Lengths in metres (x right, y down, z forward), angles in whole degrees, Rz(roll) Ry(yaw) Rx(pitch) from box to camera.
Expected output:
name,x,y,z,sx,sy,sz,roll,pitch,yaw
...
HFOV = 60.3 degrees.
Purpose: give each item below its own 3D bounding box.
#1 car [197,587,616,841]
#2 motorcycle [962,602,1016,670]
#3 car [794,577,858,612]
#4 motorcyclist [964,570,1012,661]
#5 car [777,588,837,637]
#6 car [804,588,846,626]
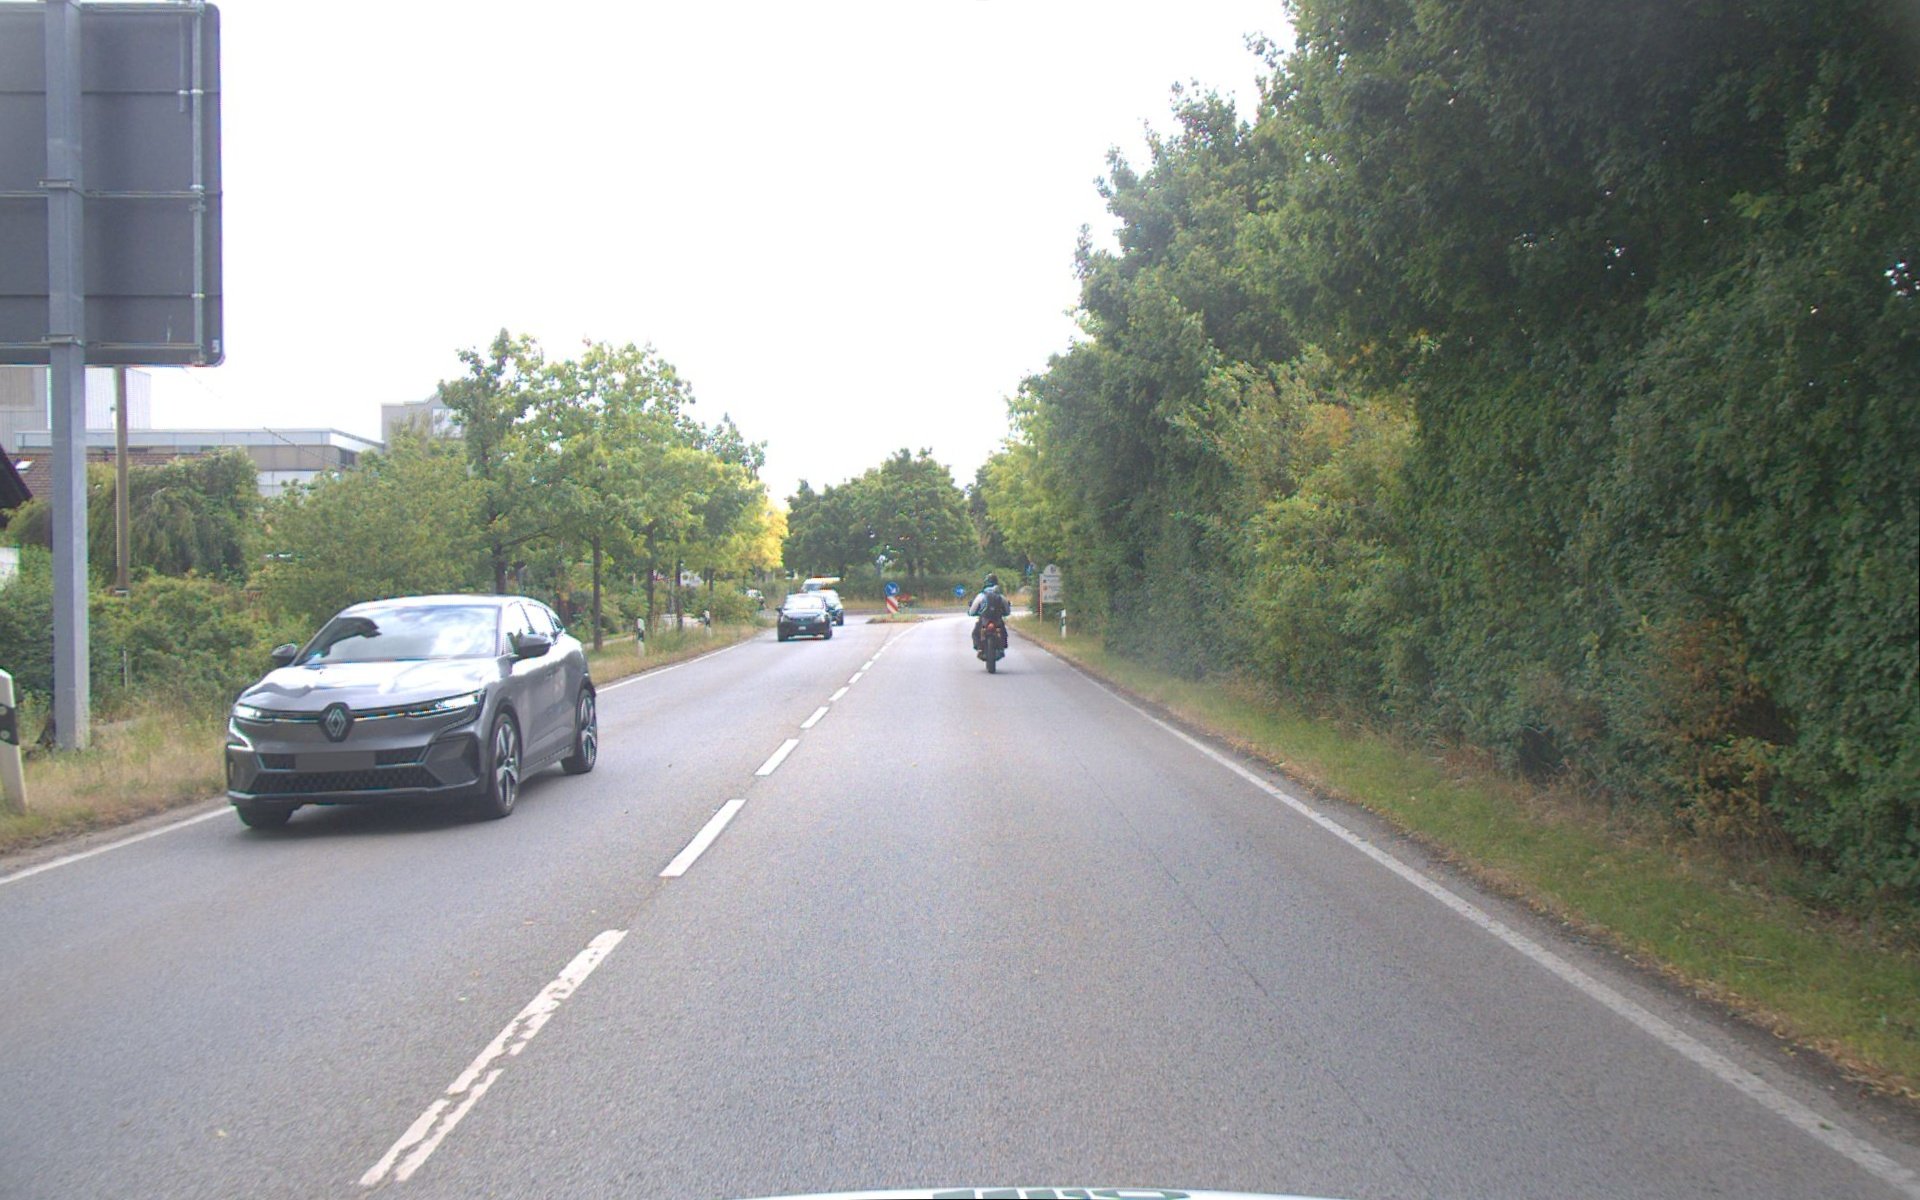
name,x,y,z,sx,sy,sz,roll,pitch,yaw
car,-3.916,0.700,12.509,1.779,1.520,4.203,-2,1,-1
motorcycle,0.519,0.638,30.816,0.878,1.178,2.620,-1,0,-1
car,-9.945,-0.431,123.231,2.120,2.494,5.436,-1,1,27
motorcyclist,0.513,0.275,30.937,0.844,1.652,1.190,-1,0,-1
car,-4.860,0.363,52.914,1.643,1.436,4.011,-3,1,-2
car,-5.952,0.295,73.260,1.699,1.561,4.092,-2,1,-3
